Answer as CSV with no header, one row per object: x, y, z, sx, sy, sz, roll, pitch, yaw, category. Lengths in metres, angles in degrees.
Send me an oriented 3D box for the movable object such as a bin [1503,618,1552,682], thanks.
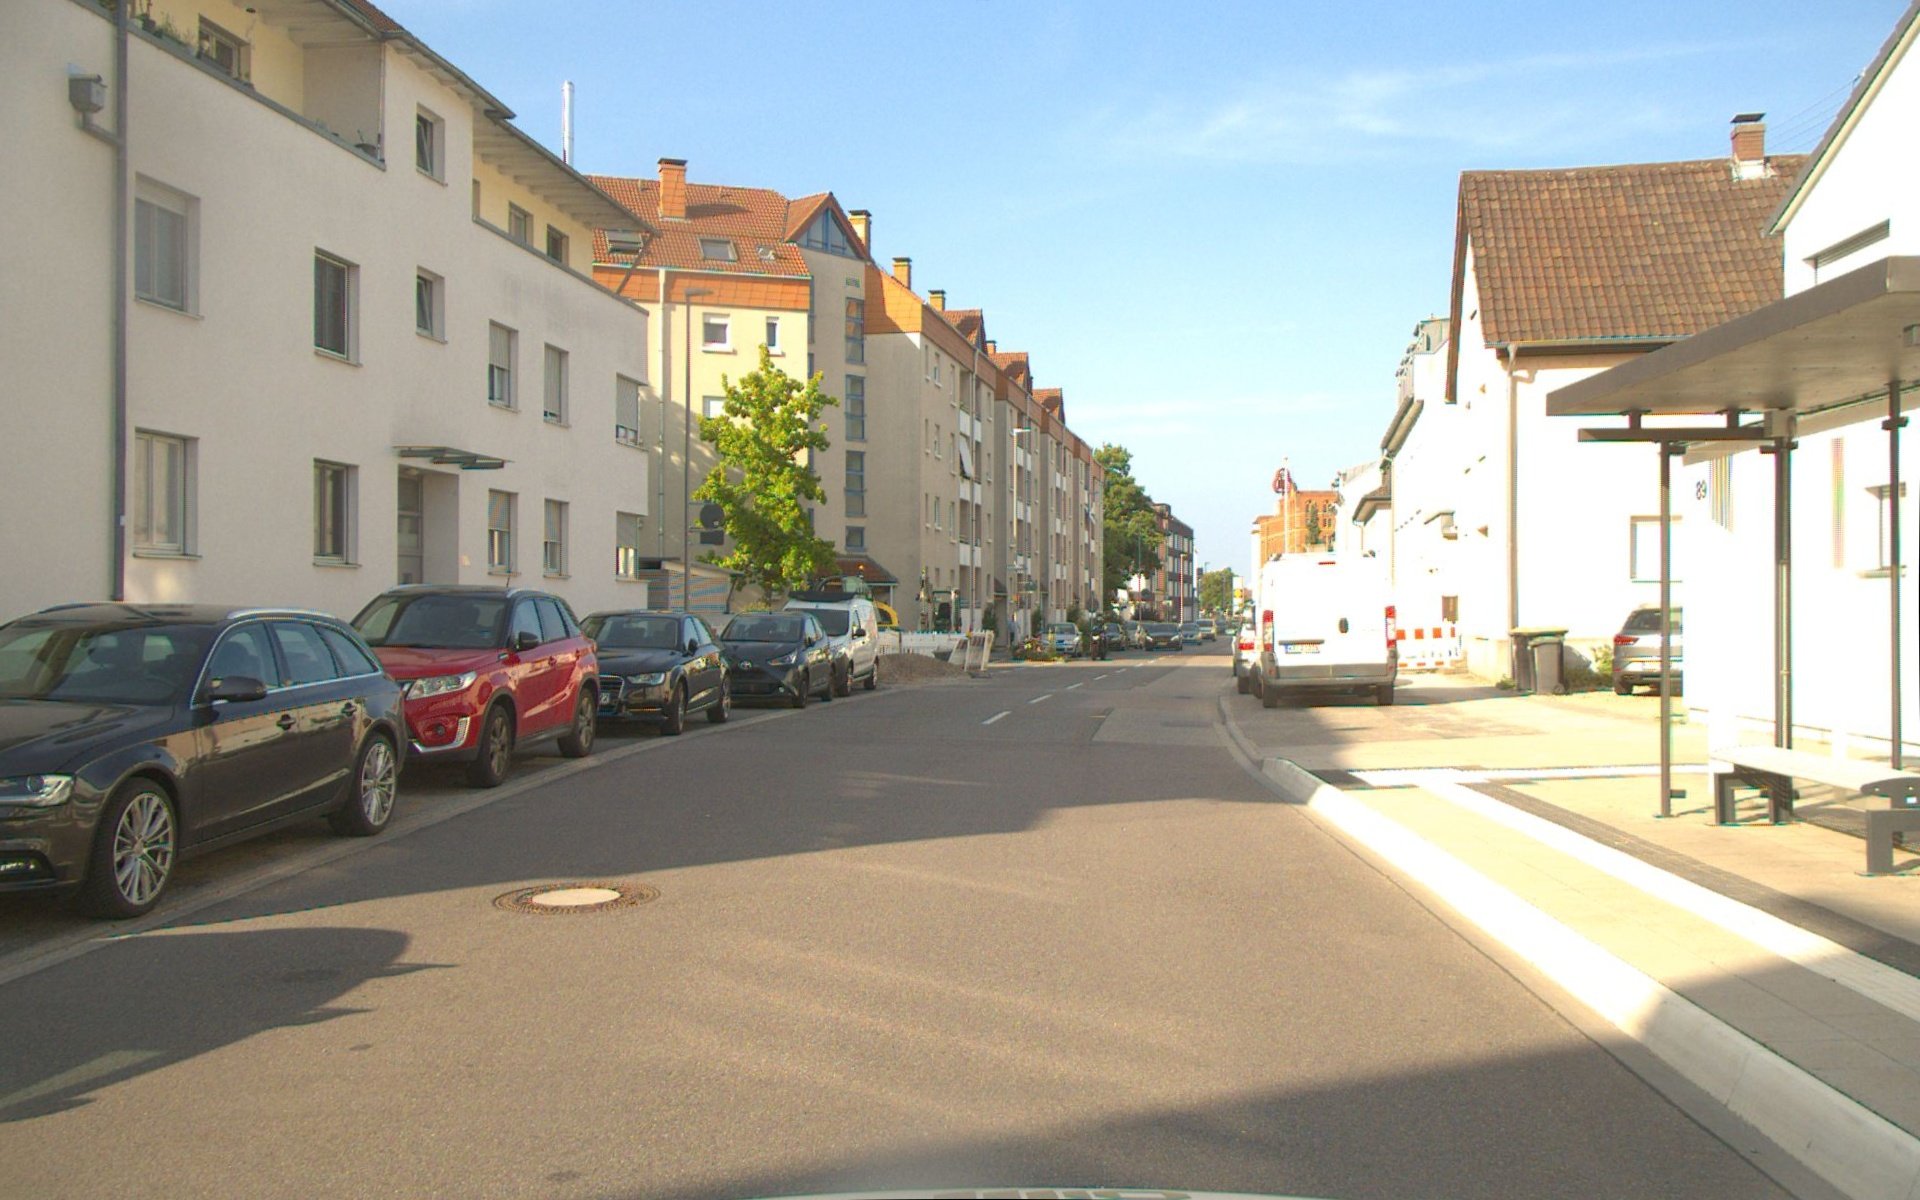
9.922,0.868,28.923,0.712,1.112,0.554,0,-1,8,movable object such as a bin

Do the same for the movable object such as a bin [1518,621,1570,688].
9.765,0.906,27.663,0.712,1.112,0.554,0,-1,8,movable object such as a bin

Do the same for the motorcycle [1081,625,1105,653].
5.061,1.485,62.867,0.752,1.002,2.201,0,0,8,motorcycle

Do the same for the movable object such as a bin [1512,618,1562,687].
9.856,0.891,28.273,0.712,1.152,0.554,0,-1,8,movable object such as a bin

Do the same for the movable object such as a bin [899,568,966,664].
-0.926,0.527,57.950,1.612,3.193,3.903,1,0,9,movable object such as a bin

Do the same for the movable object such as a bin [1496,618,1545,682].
10.002,0.888,29.529,0.712,1.112,0.626,0,-1,8,movable object such as a bin

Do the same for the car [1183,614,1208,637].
19.250,2.070,134.923,1.881,1.798,4.341,0,-1,10,car

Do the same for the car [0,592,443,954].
-4.579,0.729,9.271,1.691,1.503,4.504,2,0,3,car

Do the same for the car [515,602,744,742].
-3.888,0.797,20.184,1.691,1.504,4.265,1,0,3,car

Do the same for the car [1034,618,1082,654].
4.037,1.448,67.607,1.605,1.420,3.674,-1,-1,9,car

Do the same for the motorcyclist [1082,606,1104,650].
5.055,1.056,62.851,0.752,1.681,0.844,0,0,9,motorcyclist

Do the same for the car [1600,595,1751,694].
11.563,0.678,26.587,1.626,1.432,3.969,-2,-1,32,car

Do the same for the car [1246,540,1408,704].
5.870,0.342,27.035,2.128,2.368,5.001,-2,-1,8,car

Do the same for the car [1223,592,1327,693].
6.039,0.782,32.096,1.740,1.771,4.487,-2,-1,8,car

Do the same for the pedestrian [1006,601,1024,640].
2.589,0.954,77.809,0.703,1.850,0.746,0,0,11,pedestrian

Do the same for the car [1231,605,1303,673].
8.291,1.007,44.778,1.773,1.713,4.480,-2,-1,10,car

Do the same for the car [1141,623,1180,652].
10.449,1.920,85.880,1.791,1.445,4.212,-1,-1,10,car

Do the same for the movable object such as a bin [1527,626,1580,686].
9.669,0.906,26.955,0.712,0.975,0.554,0,-1,8,movable object such as a bin

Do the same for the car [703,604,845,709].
-2.899,0.852,26.448,1.461,1.490,3.516,3,0,6,car

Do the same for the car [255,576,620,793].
-4.431,0.640,14.742,1.691,1.650,4.265,0,0,3,car

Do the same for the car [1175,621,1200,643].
15.681,2.177,114.045,1.583,1.480,3.688,-1,-1,10,car

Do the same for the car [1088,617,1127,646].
7.647,1.619,85.424,1.650,1.430,4.087,1,-1,10,car

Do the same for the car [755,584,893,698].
-2.503,0.738,31.500,1.690,1.995,4.442,1,0,8,car

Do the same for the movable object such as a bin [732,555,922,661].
-3.855,0.229,48.274,5.389,2.951,2.110,1,0,-4,movable object such as a bin
